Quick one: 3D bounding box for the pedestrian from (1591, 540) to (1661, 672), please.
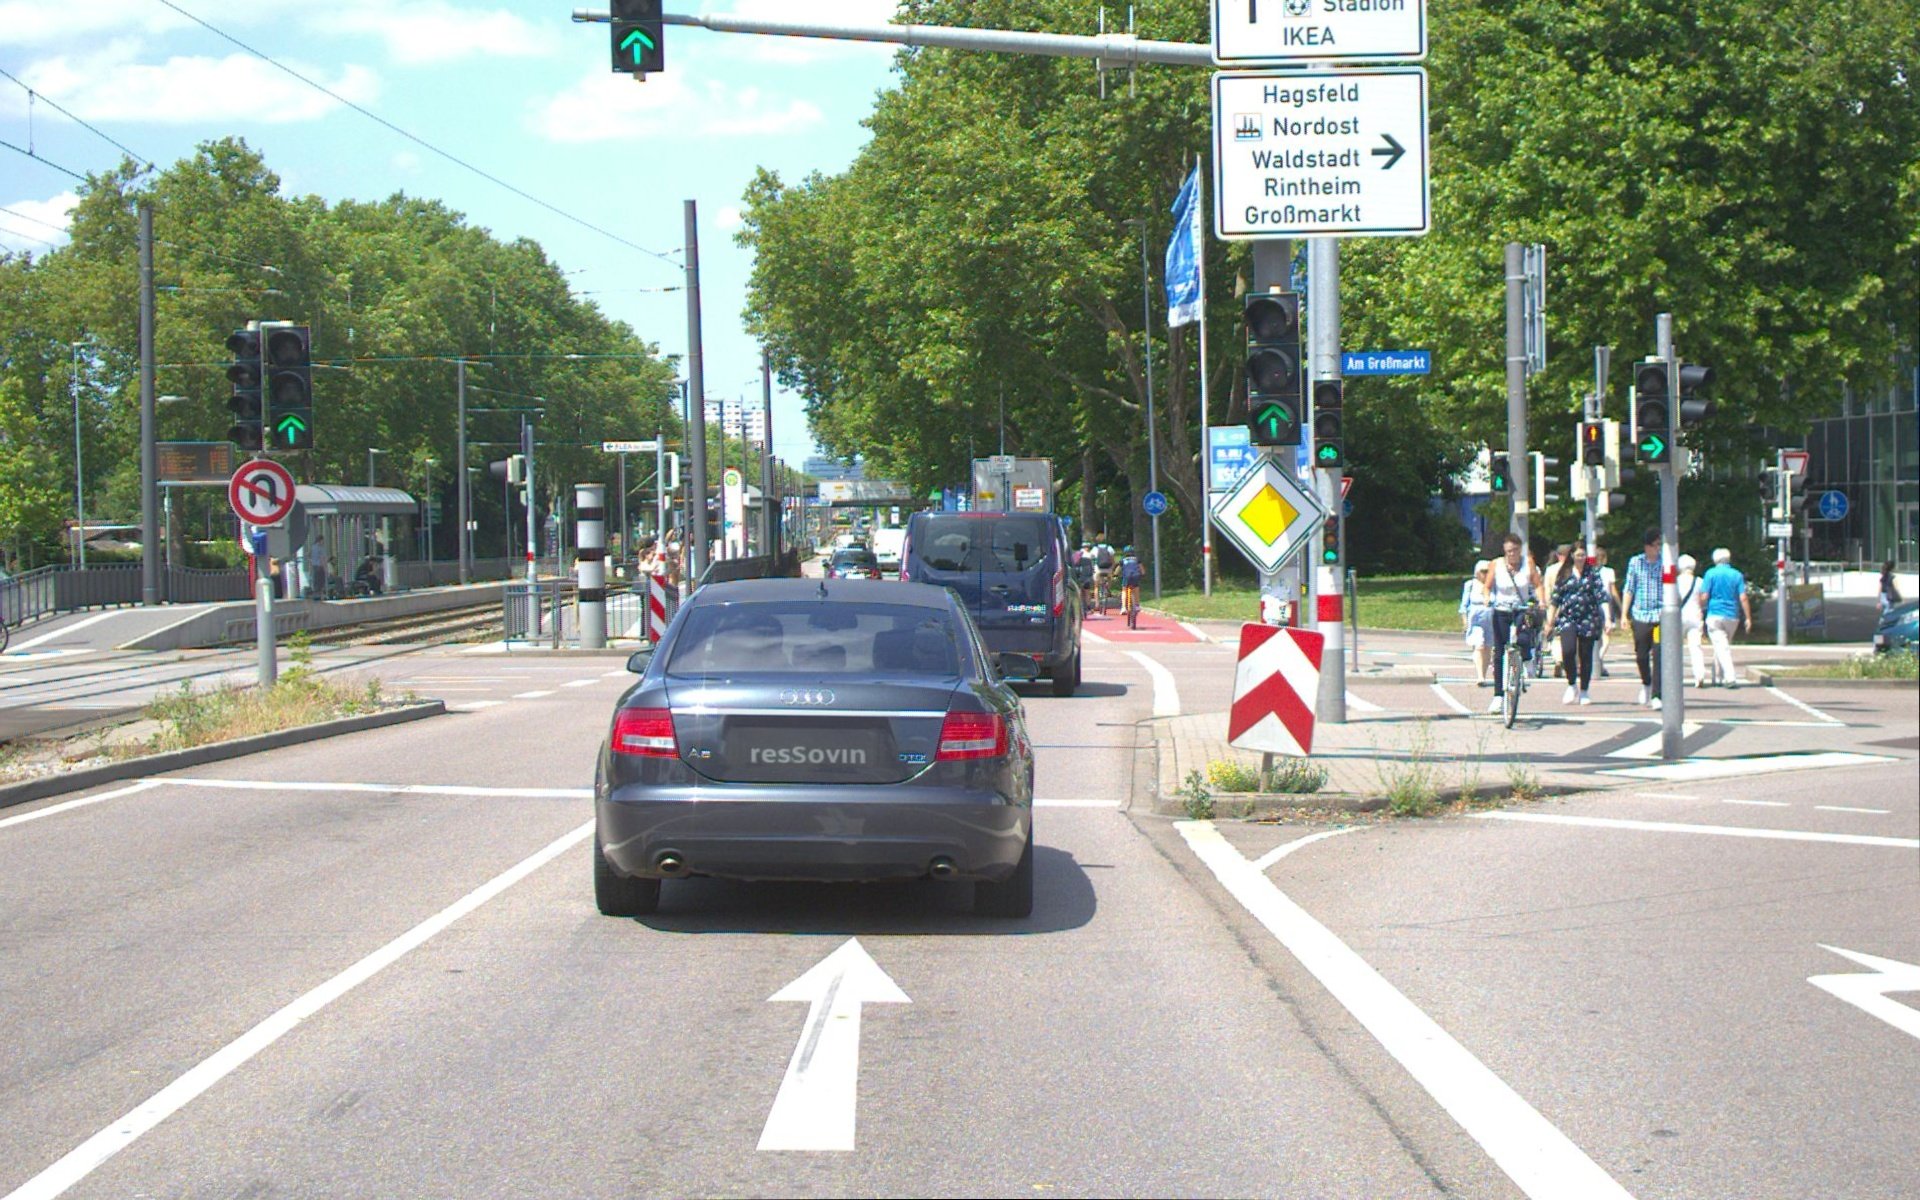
[{"bbox_3d":[8.464,0.065,43.673,0.795,1.653,0.851,0,1,16],"label":"pedestrian"}]

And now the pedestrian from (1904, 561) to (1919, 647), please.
[{"bbox_3d":[18.018,0.063,63.536,0.917,1.580,0.633,0,1,-6],"label":"pedestrian"}]

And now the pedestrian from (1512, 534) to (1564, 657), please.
[{"bbox_3d":[7.979,-0.068,47.453,0.623,1.677,0.725,0,1,17],"label":"pedestrian"}]

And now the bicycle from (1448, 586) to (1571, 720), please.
[{"bbox_3d":[5.022,0.469,31.519,0.829,1.158,1.879,1,1,1],"label":"bicycle"}]

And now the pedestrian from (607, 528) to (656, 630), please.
[{"bbox_3d":[-5.826,-0.371,60.997,0.862,1.796,0.884,0,1,-5],"label":"pedestrian"}]

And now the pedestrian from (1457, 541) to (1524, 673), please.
[{"bbox_3d":[6.798,0.085,44.098,0.782,1.667,0.946,0,1,6],"label":"pedestrian"}]

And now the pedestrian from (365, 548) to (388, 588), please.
[{"bbox_3d":[-17.675,-0.975,104.191,0.576,1.186,0.639,-1,1,-1],"label":"pedestrian"}]

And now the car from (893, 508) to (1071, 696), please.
[{"bbox_3d":[0.248,-0.013,38.144,1.848,1.953,4.145,1,1,0],"label":"car"}]

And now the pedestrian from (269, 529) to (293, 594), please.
[{"bbox_3d":[-17.190,-0.984,87.059,0.557,1.632,0.807,0,1,-9],"label":"pedestrian"}]

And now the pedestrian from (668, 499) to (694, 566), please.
[{"bbox_3d":[-6.944,-1.679,85.681,0.613,1.675,0.720,0,1,-3],"label":"pedestrian"}]

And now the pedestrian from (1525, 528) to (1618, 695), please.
[{"bbox_3d":[6.505,0.113,36.607,0.803,1.753,0.798,0,1,-3],"label":"pedestrian"}]

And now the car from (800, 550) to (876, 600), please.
[{"bbox_3d":[-3.597,-0.738,100.455,1.794,1.405,4.001,0,1,-8],"label":"car"}]

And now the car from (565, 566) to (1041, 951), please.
[{"bbox_3d":[-0.616,0.600,15.444,1.842,1.479,4.000,1,1,0],"label":"car"}]

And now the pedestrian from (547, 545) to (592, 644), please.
[{"bbox_3d":[-6.605,-0.099,58.131,0.732,1.667,0.678,0,1,-4],"label":"pedestrian"}]

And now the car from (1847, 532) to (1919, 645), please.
[{"bbox_3d":[14.718,-0.158,48.180,3.986,1.550,2.000,0,1,-3],"label":"car"}]

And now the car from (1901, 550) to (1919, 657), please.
[{"bbox_3d":[14.405,0.061,44.763,3.824,1.392,1.803,1,1,1],"label":"car"}]

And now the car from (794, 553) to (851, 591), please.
[{"bbox_3d":[-5.347,-1.101,133.674,1.794,1.405,4.001,0,1,-8],"label":"car"}]

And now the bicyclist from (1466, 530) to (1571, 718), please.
[{"bbox_3d":[5.123,0.212,31.574,0.814,1.695,0.799,1,1,-1],"label":"bicyclist"}]

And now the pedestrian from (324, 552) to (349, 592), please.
[{"bbox_3d":[-17.503,-0.787,96.578,0.576,1.091,0.639,-1,1,-1],"label":"pedestrian"}]

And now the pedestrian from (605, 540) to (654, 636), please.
[{"bbox_3d":[-5.447,-0.199,56.755,0.785,1.567,0.765,0,1,-4],"label":"pedestrian"}]

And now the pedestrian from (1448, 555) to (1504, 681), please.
[{"bbox_3d":[6.138,0.209,40.913,0.589,1.471,0.806,1,1,5],"label":"pedestrian"}]

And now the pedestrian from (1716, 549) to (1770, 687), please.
[{"bbox_3d":[9.359,0.211,41.081,0.603,1.632,0.863,0,0,14],"label":"pedestrian"}]

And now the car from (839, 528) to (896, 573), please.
[{"bbox_3d":[-3.894,-2.079,143.801,1.794,1.864,5.001,0,1,-8],"label":"car"}]

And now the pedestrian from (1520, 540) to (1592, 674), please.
[{"bbox_3d":[7.468,0.081,43.085,0.795,1.653,0.851,0,1,16],"label":"pedestrian"}]

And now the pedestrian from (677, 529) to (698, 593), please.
[{"bbox_3d":[-6.708,-0.957,84.664,0.497,1.572,0.557,0,1,-3],"label":"pedestrian"}]

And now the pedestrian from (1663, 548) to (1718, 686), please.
[{"bbox_3d":[8.769,0.201,41.256,0.606,1.632,0.863,0,0,14],"label":"pedestrian"}]

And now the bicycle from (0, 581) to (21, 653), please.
[{"bbox_3d":[-15.472,0.257,52.843,1.971,1.097,0.765,0,1,-16],"label":"bicycle"}]

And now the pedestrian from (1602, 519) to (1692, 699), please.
[{"bbox_3d":[7.165,0.086,35.883,0.803,1.858,0.797,1,1,3],"label":"pedestrian"}]
